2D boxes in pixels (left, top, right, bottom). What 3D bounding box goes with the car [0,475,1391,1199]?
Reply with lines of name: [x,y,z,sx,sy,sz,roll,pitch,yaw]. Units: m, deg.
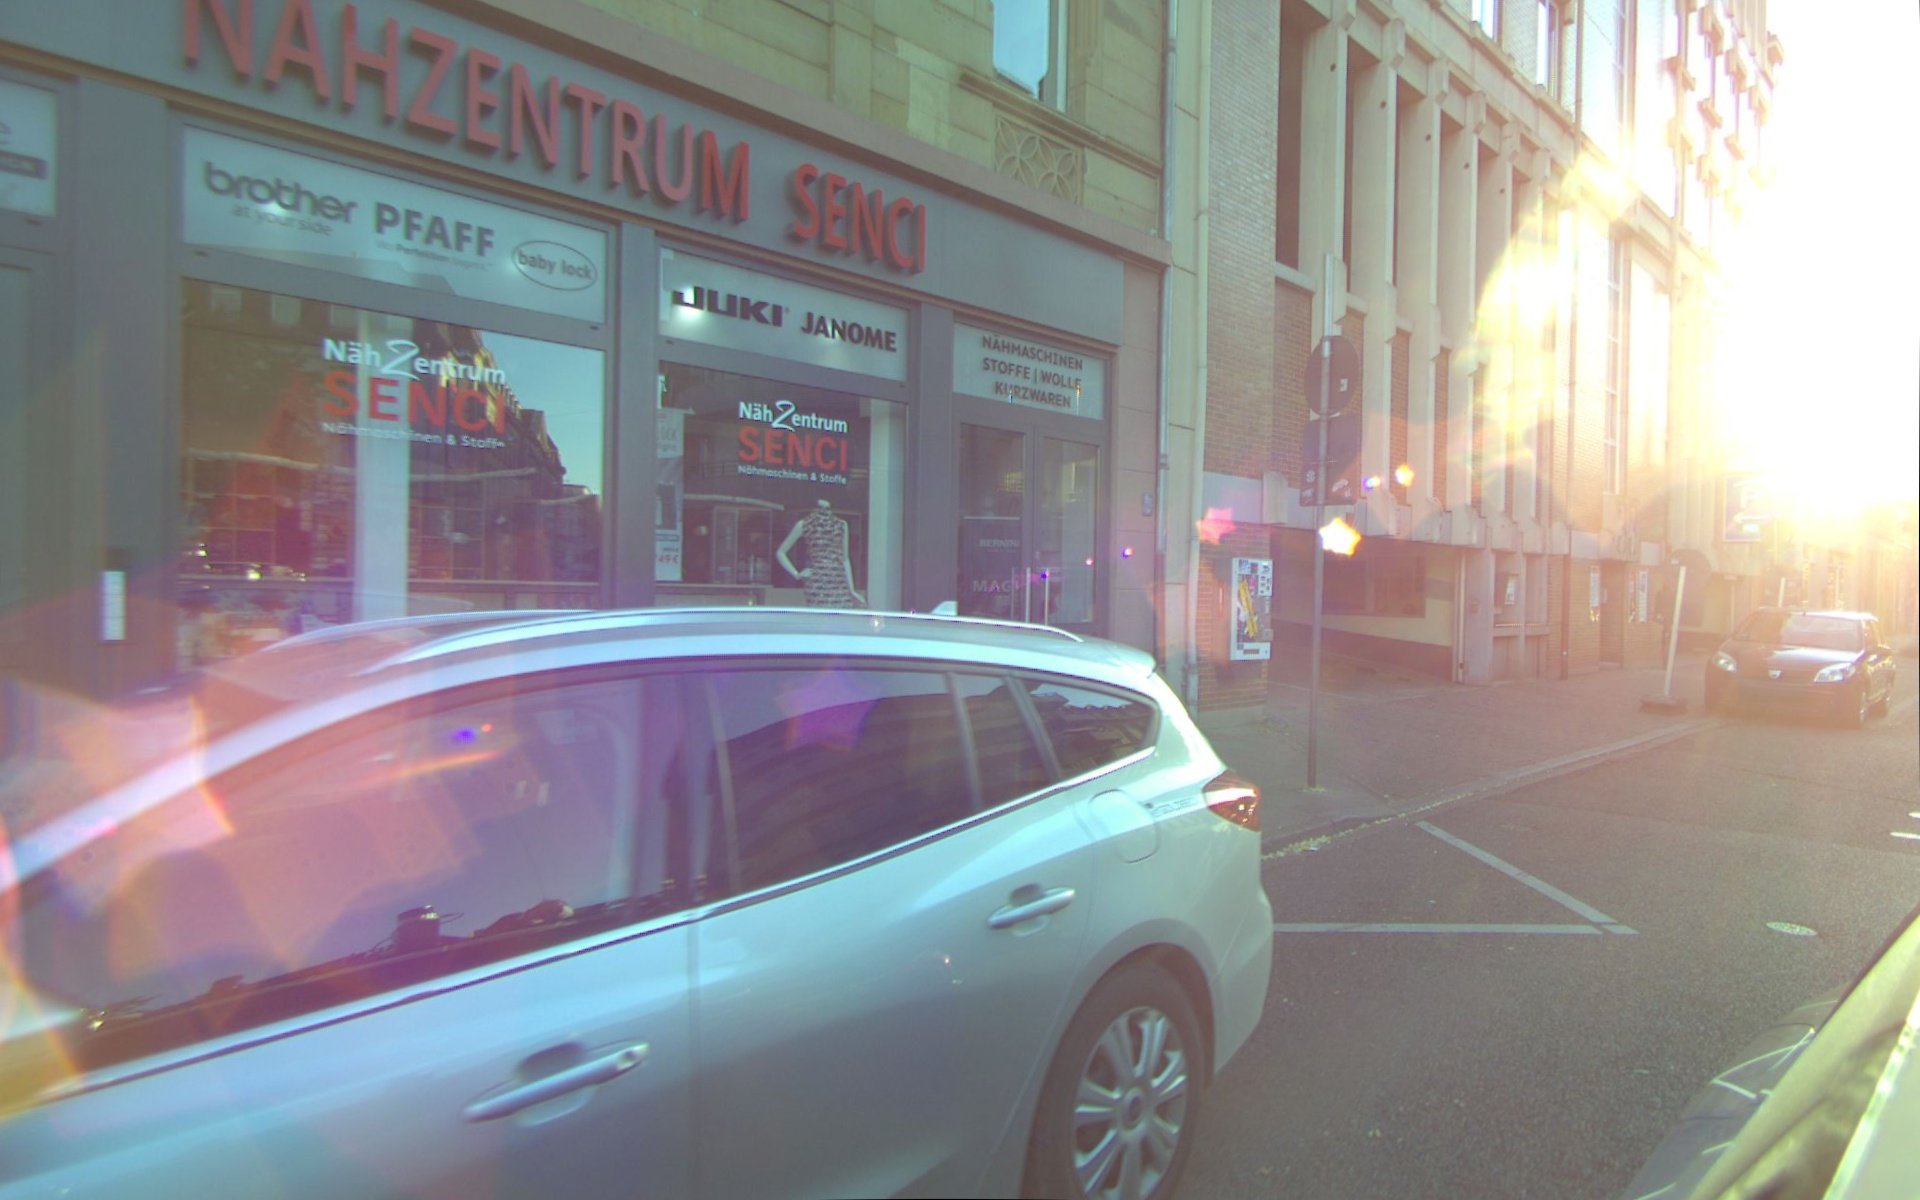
car: [-1.011,0.663,2.088,4.741,1.556,1.760,0,-1,-44]

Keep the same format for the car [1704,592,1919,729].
car: [12.206,0.754,14.331,3.929,1.555,1.763,1,4,-41]
